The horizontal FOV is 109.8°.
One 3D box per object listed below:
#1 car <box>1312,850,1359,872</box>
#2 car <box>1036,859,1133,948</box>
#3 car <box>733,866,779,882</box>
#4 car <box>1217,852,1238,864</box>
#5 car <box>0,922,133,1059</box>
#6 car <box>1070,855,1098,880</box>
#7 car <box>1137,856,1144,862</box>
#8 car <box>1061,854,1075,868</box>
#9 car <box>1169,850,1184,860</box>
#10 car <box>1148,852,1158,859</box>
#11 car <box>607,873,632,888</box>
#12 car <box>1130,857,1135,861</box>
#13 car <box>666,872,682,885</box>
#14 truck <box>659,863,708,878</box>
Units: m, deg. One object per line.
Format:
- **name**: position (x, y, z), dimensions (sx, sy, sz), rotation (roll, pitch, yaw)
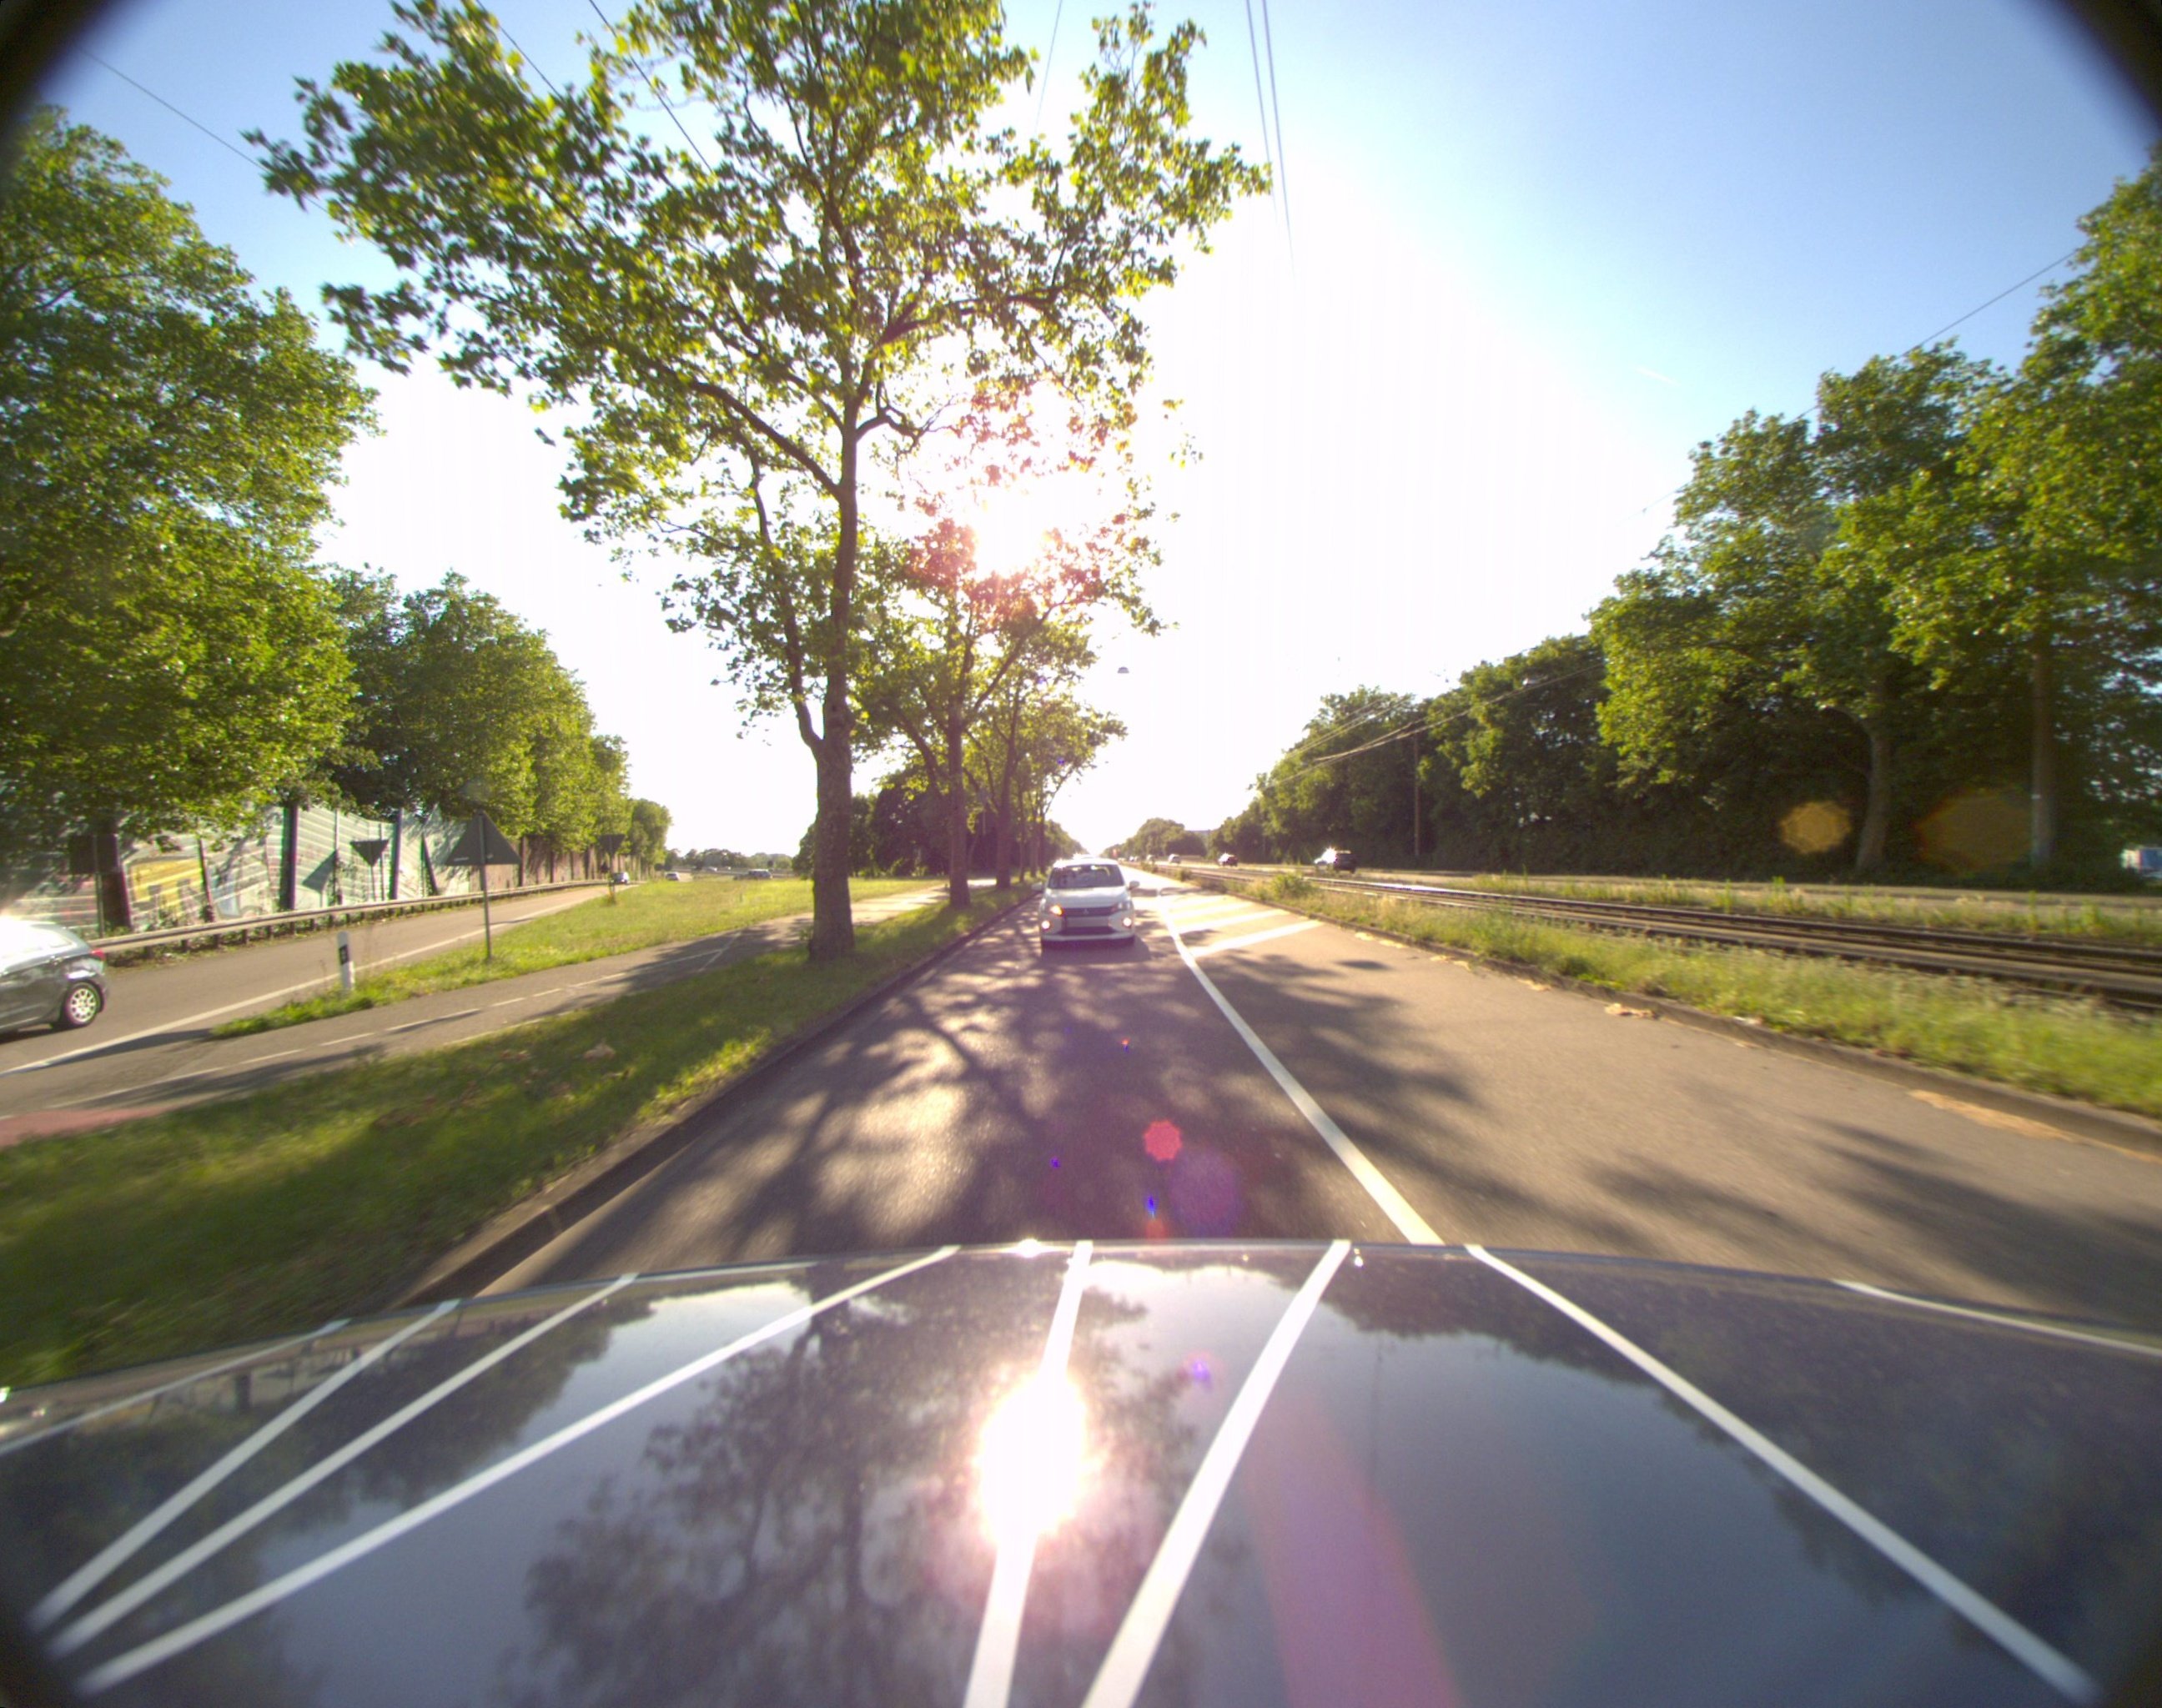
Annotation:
- **car**: position (19.840, 0.504, 59.407), dimensions (1.903, 1.684, 4.940), rotation (1, 0, -2)
- **car**: position (0.096, 0.918, 15.724), dimensions (1.709, 1.503, 3.862), rotation (-2, 0, 1)
- **car**: position (-32.839, 2.006, 76.763), dimensions (4.127, 1.409, 1.696), rotation (-2, 1, 16)
- **car**: position (18.765, 0.472, 97.482), dimensions (1.715, 1.459, 4.347), rotation (1, 0, -1)
- **car**: position (-13.234, 1.679, 8.267), dimensions (1.800, 1.432, 4.216), rotation (-3, 0, -23)
- **car**: position (0.240, 0.858, 50.211), dimensions (1.709, 1.512, 3.844), rotation (-2, 0, 1)
- **car**: position (18.181, 1.479, 232.736), dimensions (1.695, 1.547, 4.190), rotation (1, 0, 0)
- **car**: position (-1.875, 0.936, 106.596), dimensions (1.886, 1.789, 3.644), rotation (-2, 0, -2)
- **car**: position (18.396, 0.170, 146.336), dimensions (1.968, 1.697, 4.943), rotation (1, 0, -2)
- **car**: position (18.218, 0.444, 192.926), dimensions (1.851, 1.724, 4.930), rotation (1, 0, -2)
- **car**: position (-49.399, 2.811, 81.426), dimensions (1.800, 1.432, 4.215), rotation (-3, 0, -25)
- **car**: position (17.178, 1.620, 253.518), dimensions (1.661, 1.424, 4.501), rotation (1, 0, 1)
- **car**: position (-61.644, 3.643, 115.111), dimensions (1.817, 1.762, 3.855), rotation (-3, 1, -23)
- **truck**: position (-100.655, 4.160, 192.497), dimensions (10.627, 3.474, 2.646), rotation (3, -1, -28)
